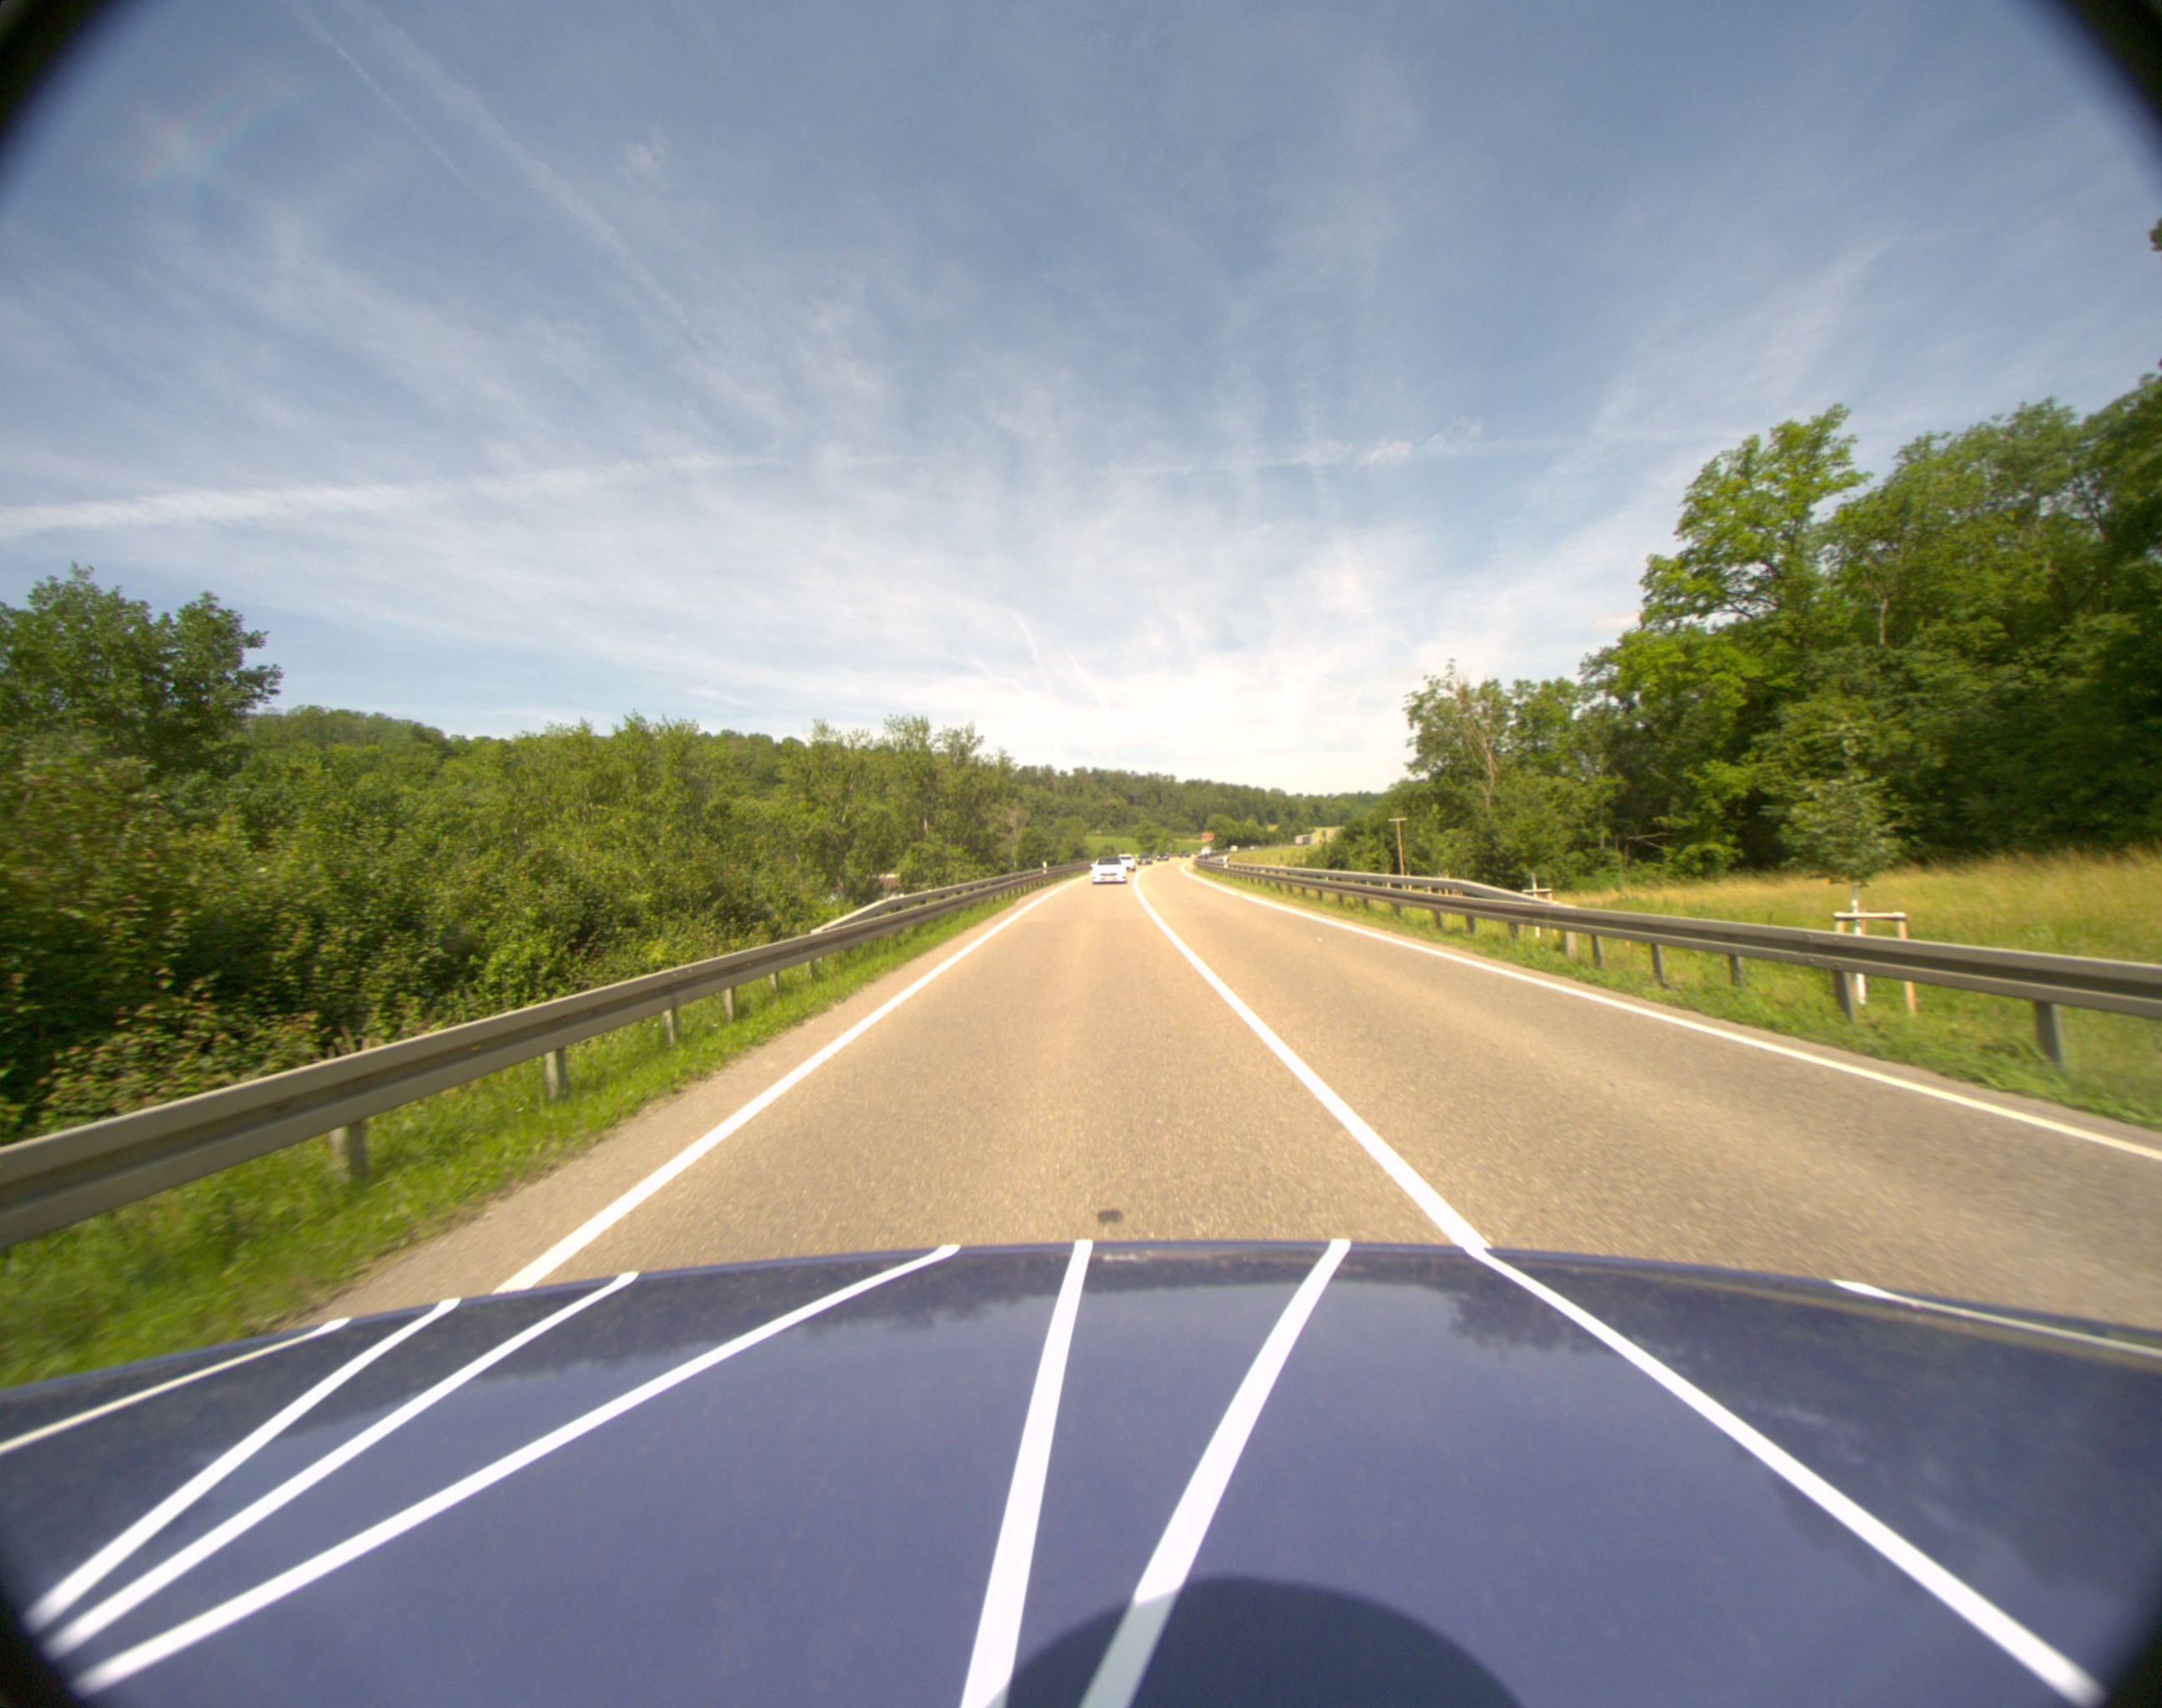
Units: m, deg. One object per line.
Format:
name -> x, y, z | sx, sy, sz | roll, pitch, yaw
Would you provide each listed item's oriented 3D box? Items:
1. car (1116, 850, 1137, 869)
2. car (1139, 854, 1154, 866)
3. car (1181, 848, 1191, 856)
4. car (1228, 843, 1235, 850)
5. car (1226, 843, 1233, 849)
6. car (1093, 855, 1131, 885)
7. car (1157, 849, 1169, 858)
car -> 4.102, 0.471, 67.834 | 1.717, 1.523, 4.001 | -2, 1, 5
car -> 8.764, 0.799, 101.510 | 1.742, 1.445, 4.037 | -2, 1, 7
car -> 22.406, -0.419, 161.918 | 1.741, 1.445, 4.040 | -2, 1, 14
car -> 41.836, -2.069, 210.700 | 1.741, 1.765, 4.039 | -2, 1, 13
car -> 46.925, -2.548, 239.982 | 1.741, 1.602, 3.811 | -2, 1, 13
car -> 1.731, 0.828, 41.729 | 1.742, 1.445, 4.037 | -2, 1, 7
car -> 13.864, -0.051, 128.760 | 1.742, 1.445, 4.036 | -2, 1, 4
